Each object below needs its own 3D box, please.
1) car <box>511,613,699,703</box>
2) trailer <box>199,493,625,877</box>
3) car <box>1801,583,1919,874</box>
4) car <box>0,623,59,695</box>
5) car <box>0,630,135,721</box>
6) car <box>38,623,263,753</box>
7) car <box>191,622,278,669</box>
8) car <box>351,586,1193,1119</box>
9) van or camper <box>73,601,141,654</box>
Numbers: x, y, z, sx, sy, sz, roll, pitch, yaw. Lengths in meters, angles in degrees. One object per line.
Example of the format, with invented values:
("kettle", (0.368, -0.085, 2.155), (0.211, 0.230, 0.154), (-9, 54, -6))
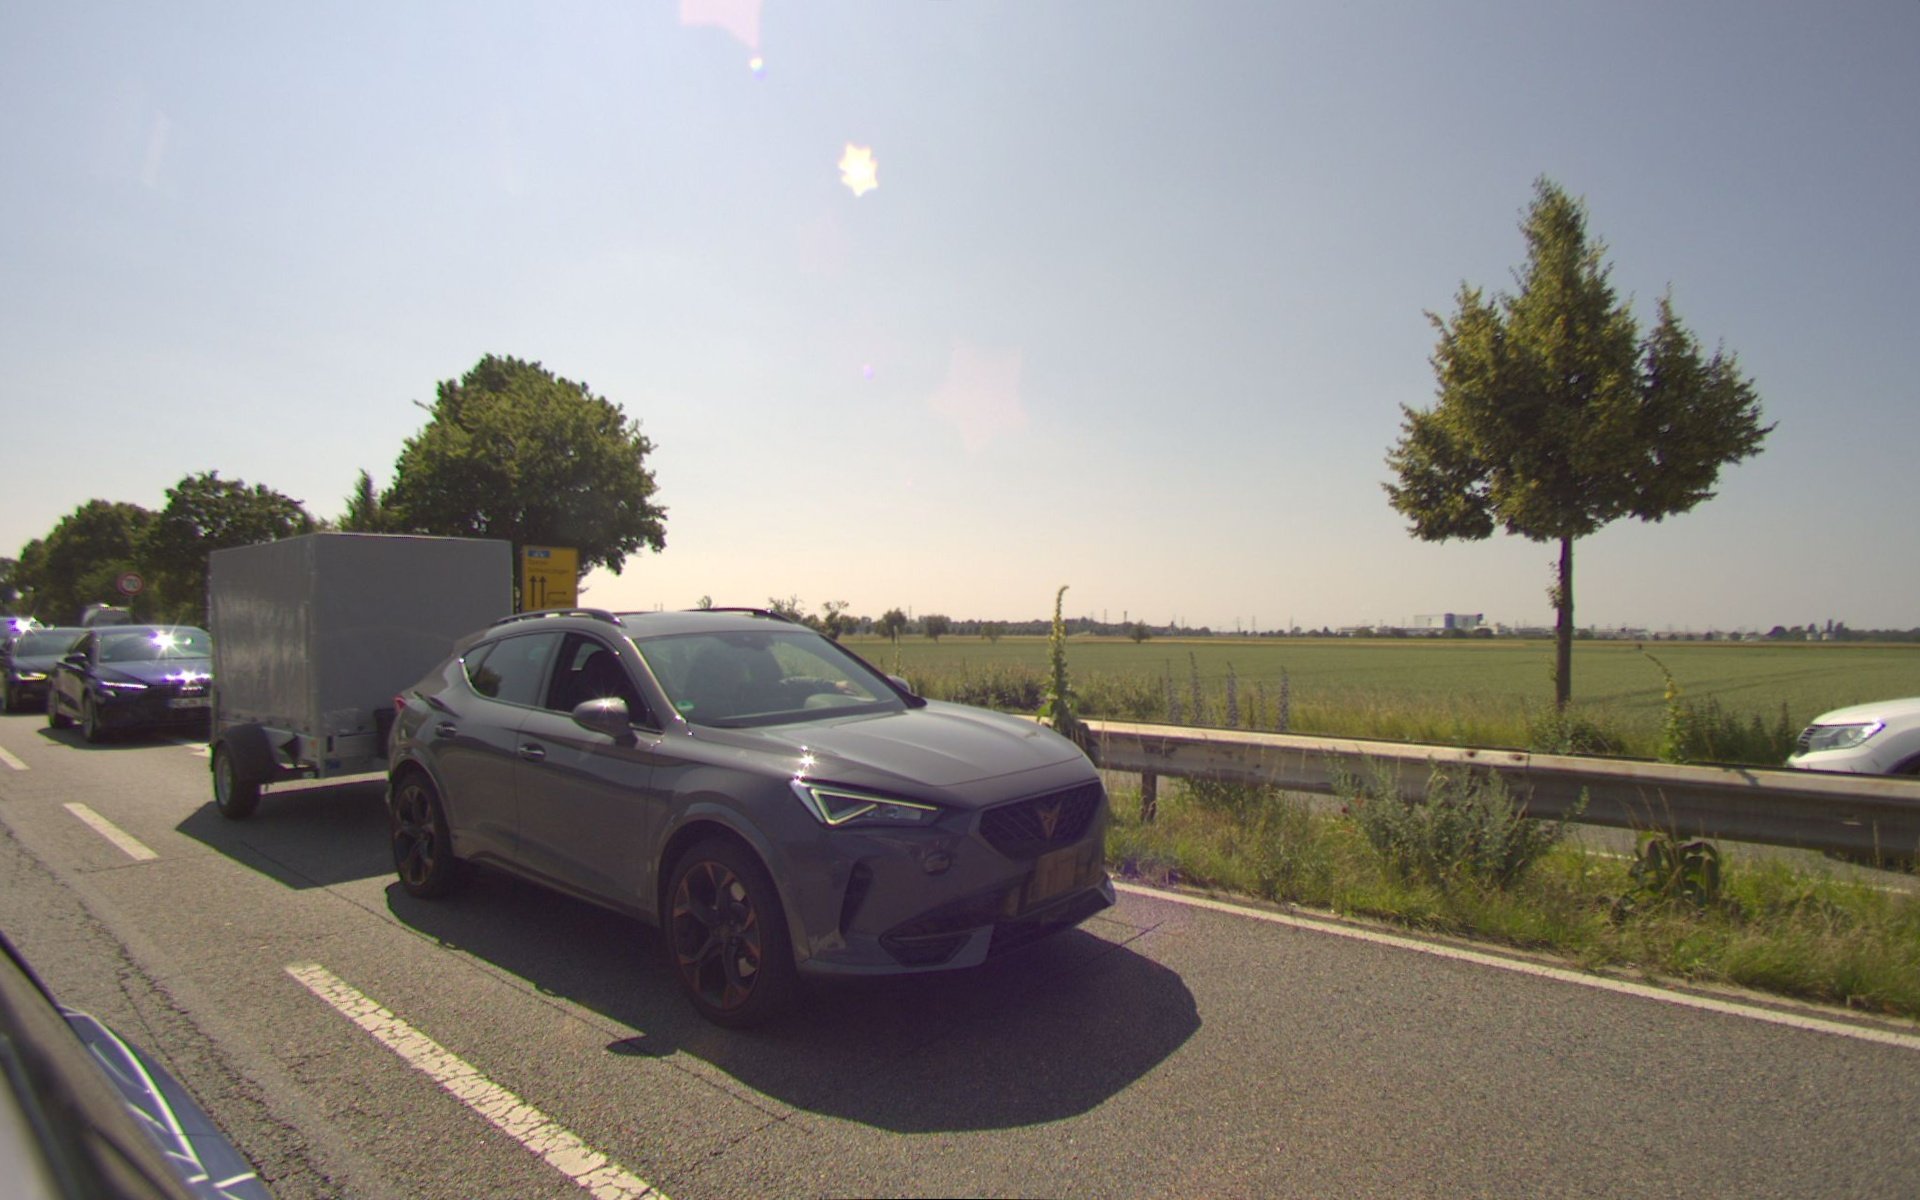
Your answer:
("car", (-8.590, 1.331, 24.278), (5.011, 1.945, 1.973), (-2, -3, 40))
("trailer", (-4.352, 0.531, 7.721), (4.172, 2.190, 1.485), (-2, -1, 41))
("car", (7.263, 0.716, 5.432), (4.130, 1.651, 1.728), (-2, -3, 39))
("car", (-22.216, 1.316, 23.253), (4.099, 1.527, 1.836), (-1, -1, 42))
("car", (-16.286, 1.249, 18.067), (4.453, 1.391, 1.722), (-1, -1, 41))
("car", (-11.020, 1.068, 13.682), (4.028, 1.476, 1.699), (-2, -1, 41))
("car", (-30.467, 1.898, 42.445), (4.693, 1.870, 1.838), (-2, -3, 40))
("car", (-1.248, 0.767, 4.975), (4.360, 1.514, 1.727), (-2, -1, 41))
("van or camper", (-52.728, 1.729, 62.521), (5.690, 3.123, 2.240), (-2, -3, 40))
